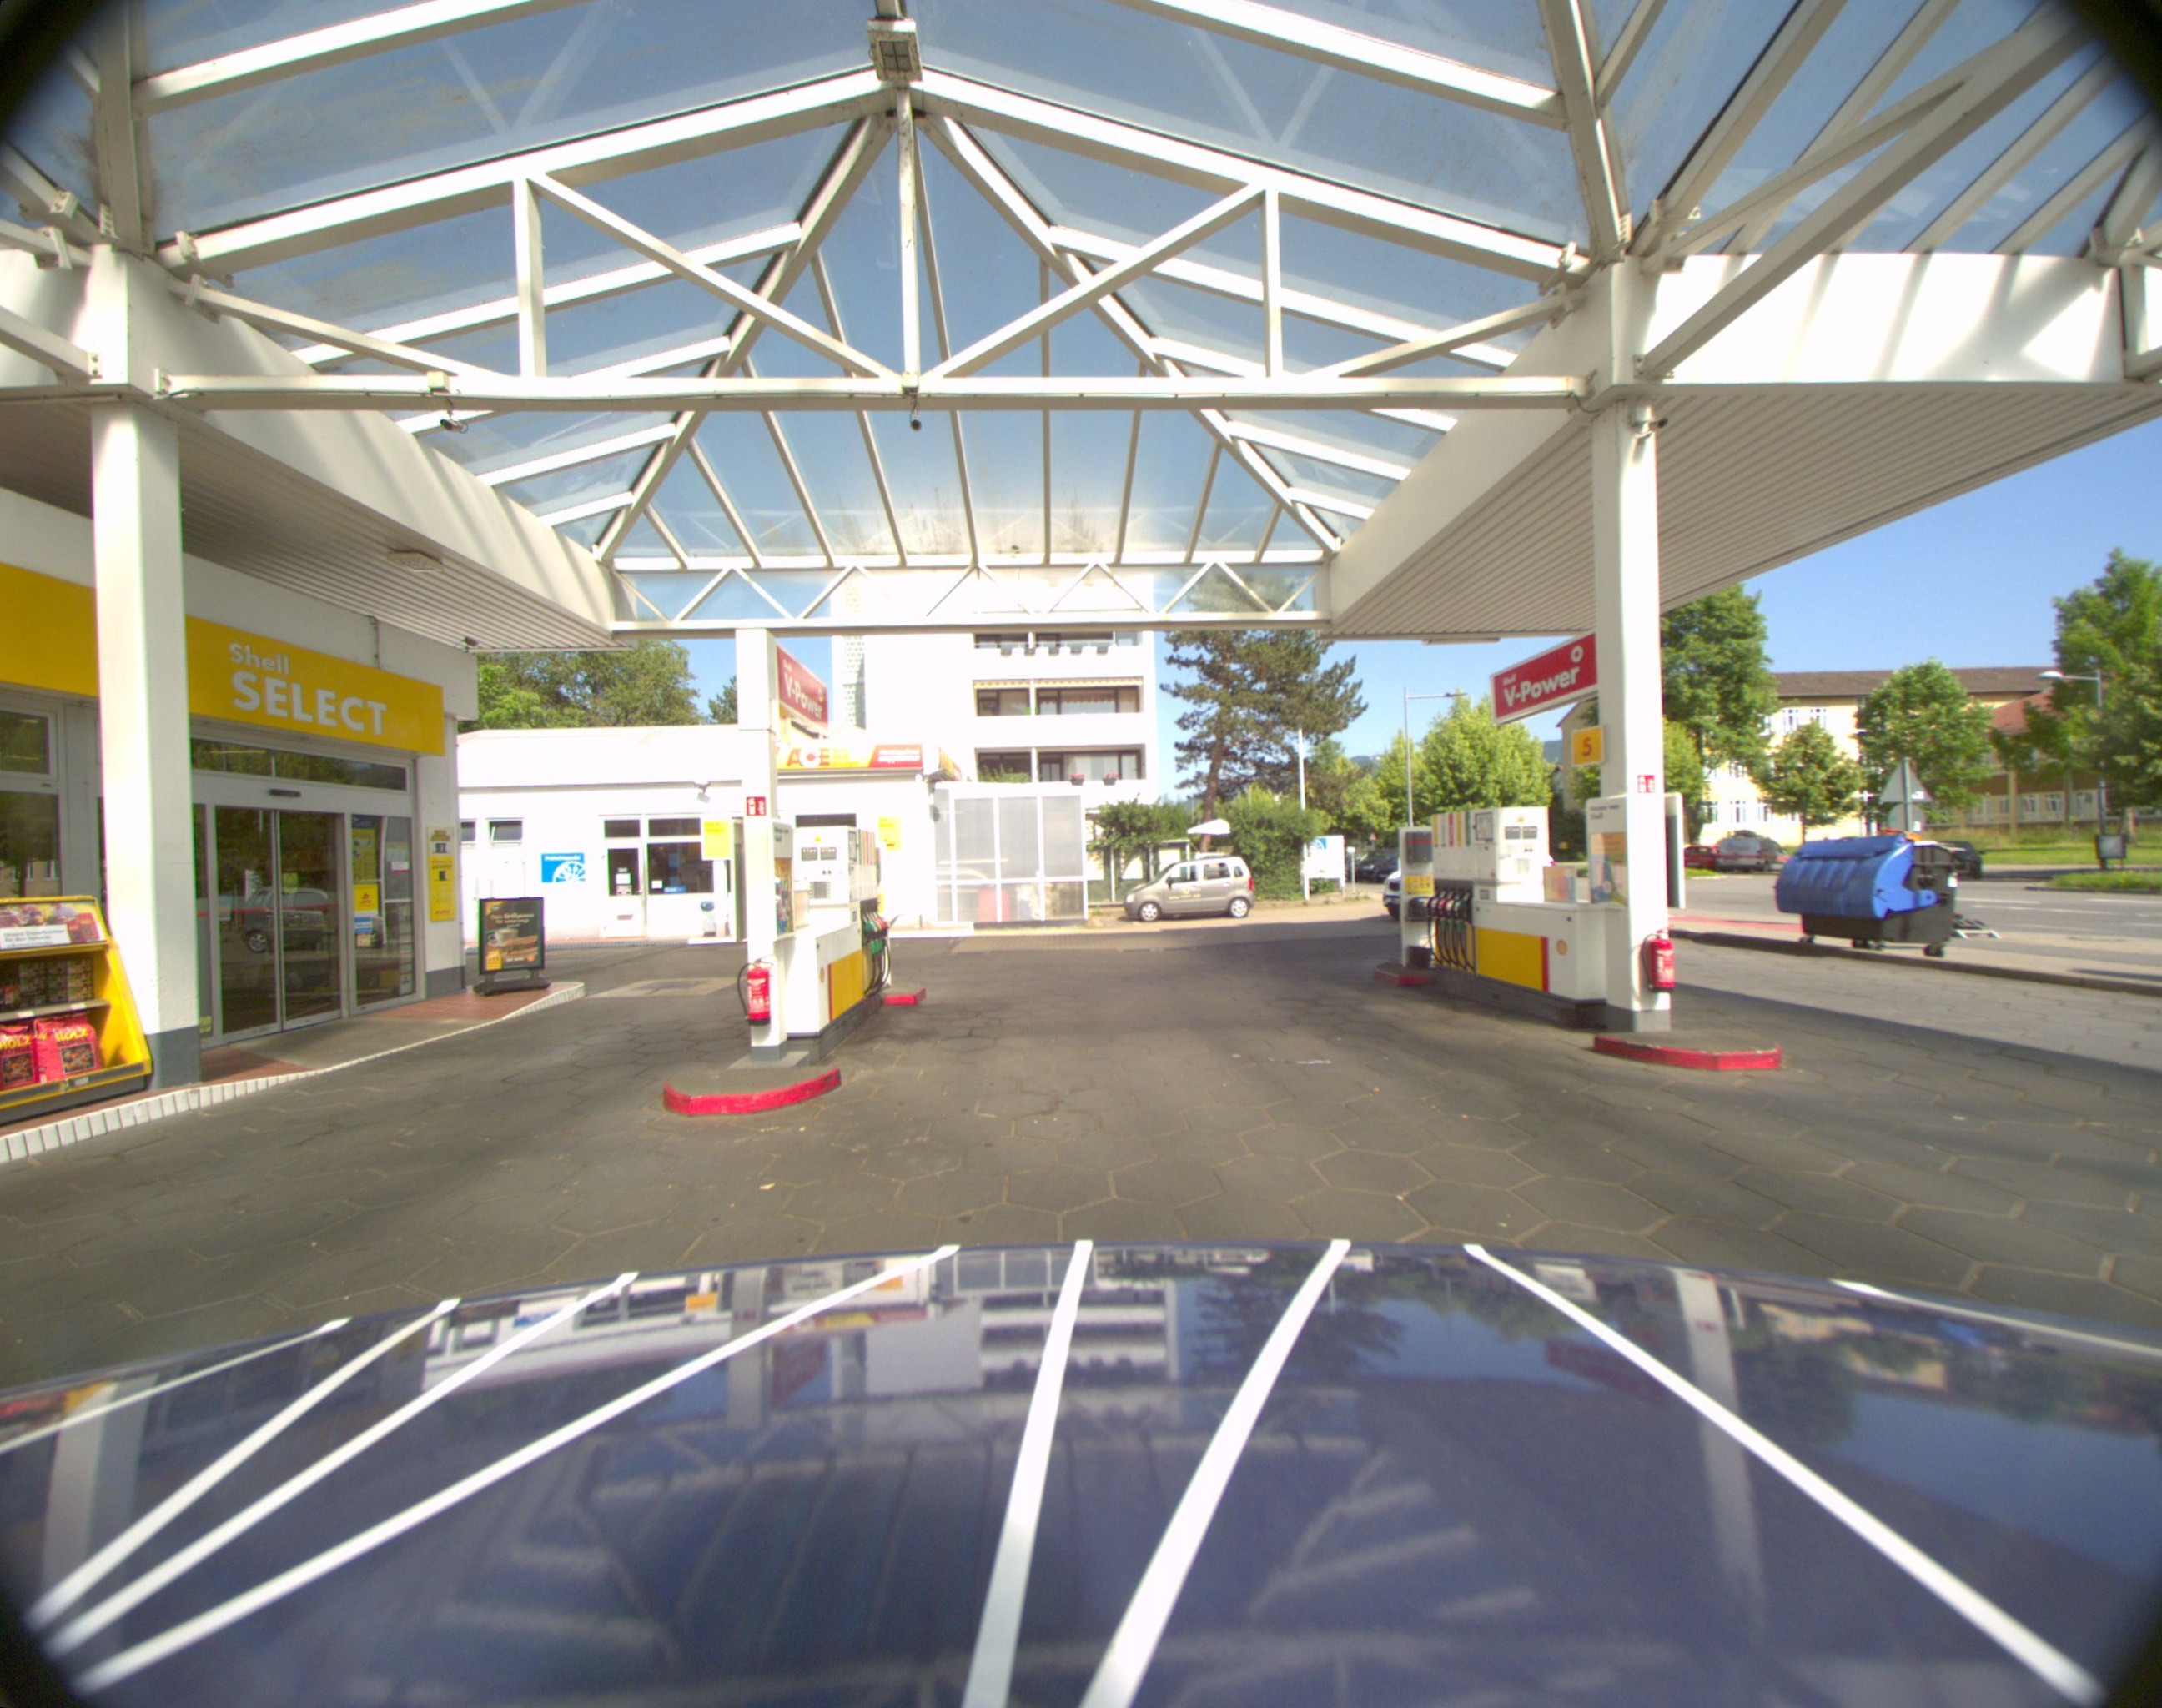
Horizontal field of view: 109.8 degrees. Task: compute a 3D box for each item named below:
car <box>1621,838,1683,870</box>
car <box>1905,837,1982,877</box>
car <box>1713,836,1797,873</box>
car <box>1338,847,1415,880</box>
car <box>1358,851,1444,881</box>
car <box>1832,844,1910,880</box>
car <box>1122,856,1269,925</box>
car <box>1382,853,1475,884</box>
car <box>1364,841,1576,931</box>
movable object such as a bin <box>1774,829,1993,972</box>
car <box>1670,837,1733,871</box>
[{"bbox_3d":[31.616,-0.023,42.054,4.234,1.712,1.876,0,1,-41],"label":"car"},{"bbox_3d":[33.499,0.105,29.479,4.234,1.451,1.737,0,0,-38],"label":"car"},{"bbox_3d":[33.095,0.017,37.285,4.233,1.712,1.876,0,1,-31],"label":"car"},{"bbox_3d":[16.202,0.475,41.557,4.411,1.710,1.700,-1,1,-34],"label":"car"},{"bbox_3d":[16.505,0.604,39.176,4.232,1.473,1.877,0,0,-29],"label":"car"},{"bbox_3d":[33.574,0.302,32.264,4.234,1.451,1.876,-1,1,-38],"label":"car"},{"bbox_3d":[3.051,0.954,20.715,3.660,1.608,1.692,-3,0,-1],"label":"car"},{"bbox_3d":[16.605,0.645,36.270,4.232,1.408,1.877,0,0,-29],"label":"car"},{"bbox_3d":[8.666,0.644,16.895,4.313,1.696,1.958,-2,0,-26],"label":"car"},{"bbox_3d":[10.114,0.551,9.666,1.342,1.678,1.337,0,1,-1],"label":"movable object such as a bin"},{"bbox_3d":[32.821,-0.006,40.172,4.234,1.712,1.876,0,1,-41],"label":"car"}]
